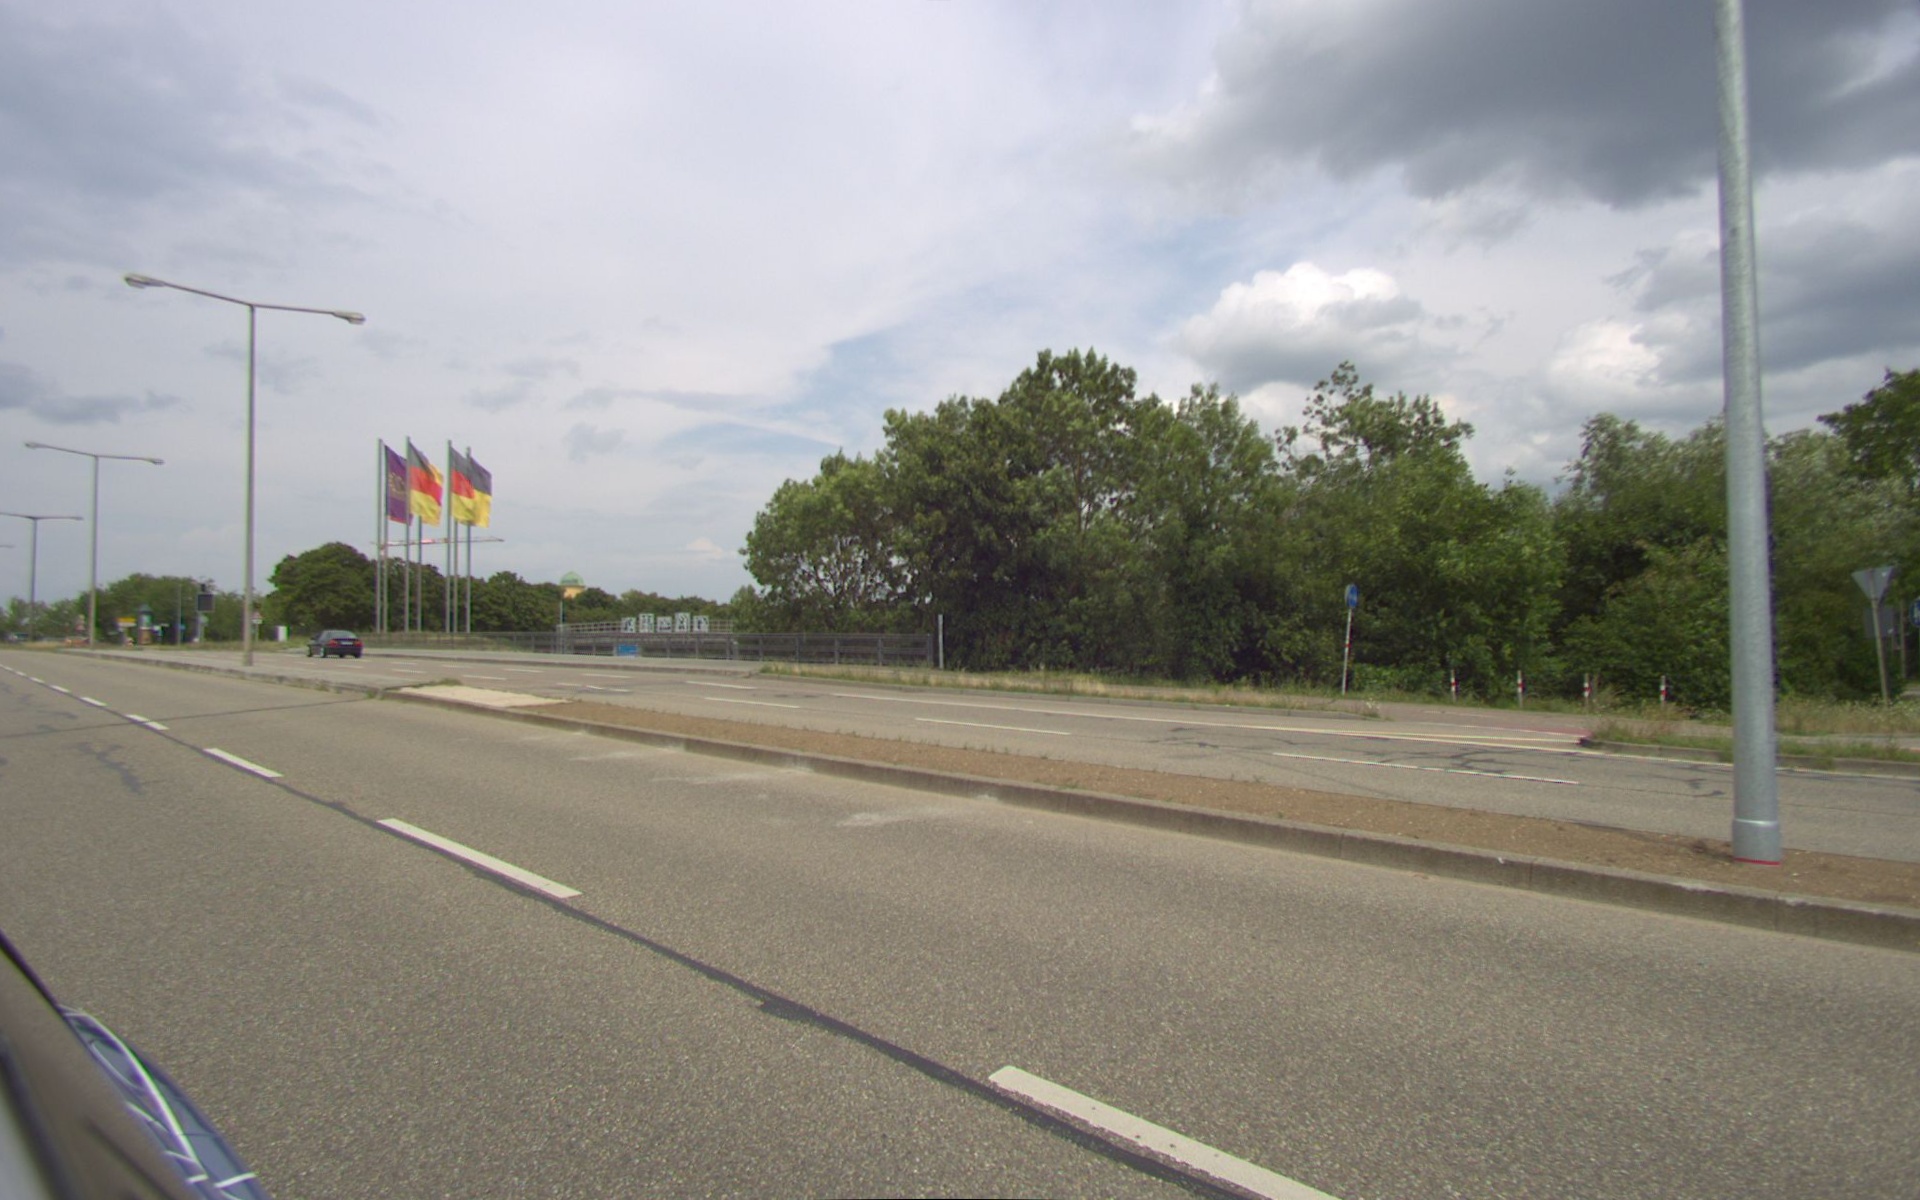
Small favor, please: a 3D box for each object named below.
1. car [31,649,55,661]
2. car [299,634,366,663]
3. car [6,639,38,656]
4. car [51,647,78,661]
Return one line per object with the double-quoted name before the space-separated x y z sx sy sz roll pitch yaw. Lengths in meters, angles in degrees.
"car" -111.042 6.658 122.530 3.997 1.505 1.673 -3 -5 41
"car" -32.084 2.479 51.695 1.970 1.384 4.581 3 -3 -43
"car" -94.169 4.746 101.574 4.661 1.652 1.972 -2 -4 42
"car" -99.528 5.979 112.435 3.997 1.505 1.673 -3 -5 41
